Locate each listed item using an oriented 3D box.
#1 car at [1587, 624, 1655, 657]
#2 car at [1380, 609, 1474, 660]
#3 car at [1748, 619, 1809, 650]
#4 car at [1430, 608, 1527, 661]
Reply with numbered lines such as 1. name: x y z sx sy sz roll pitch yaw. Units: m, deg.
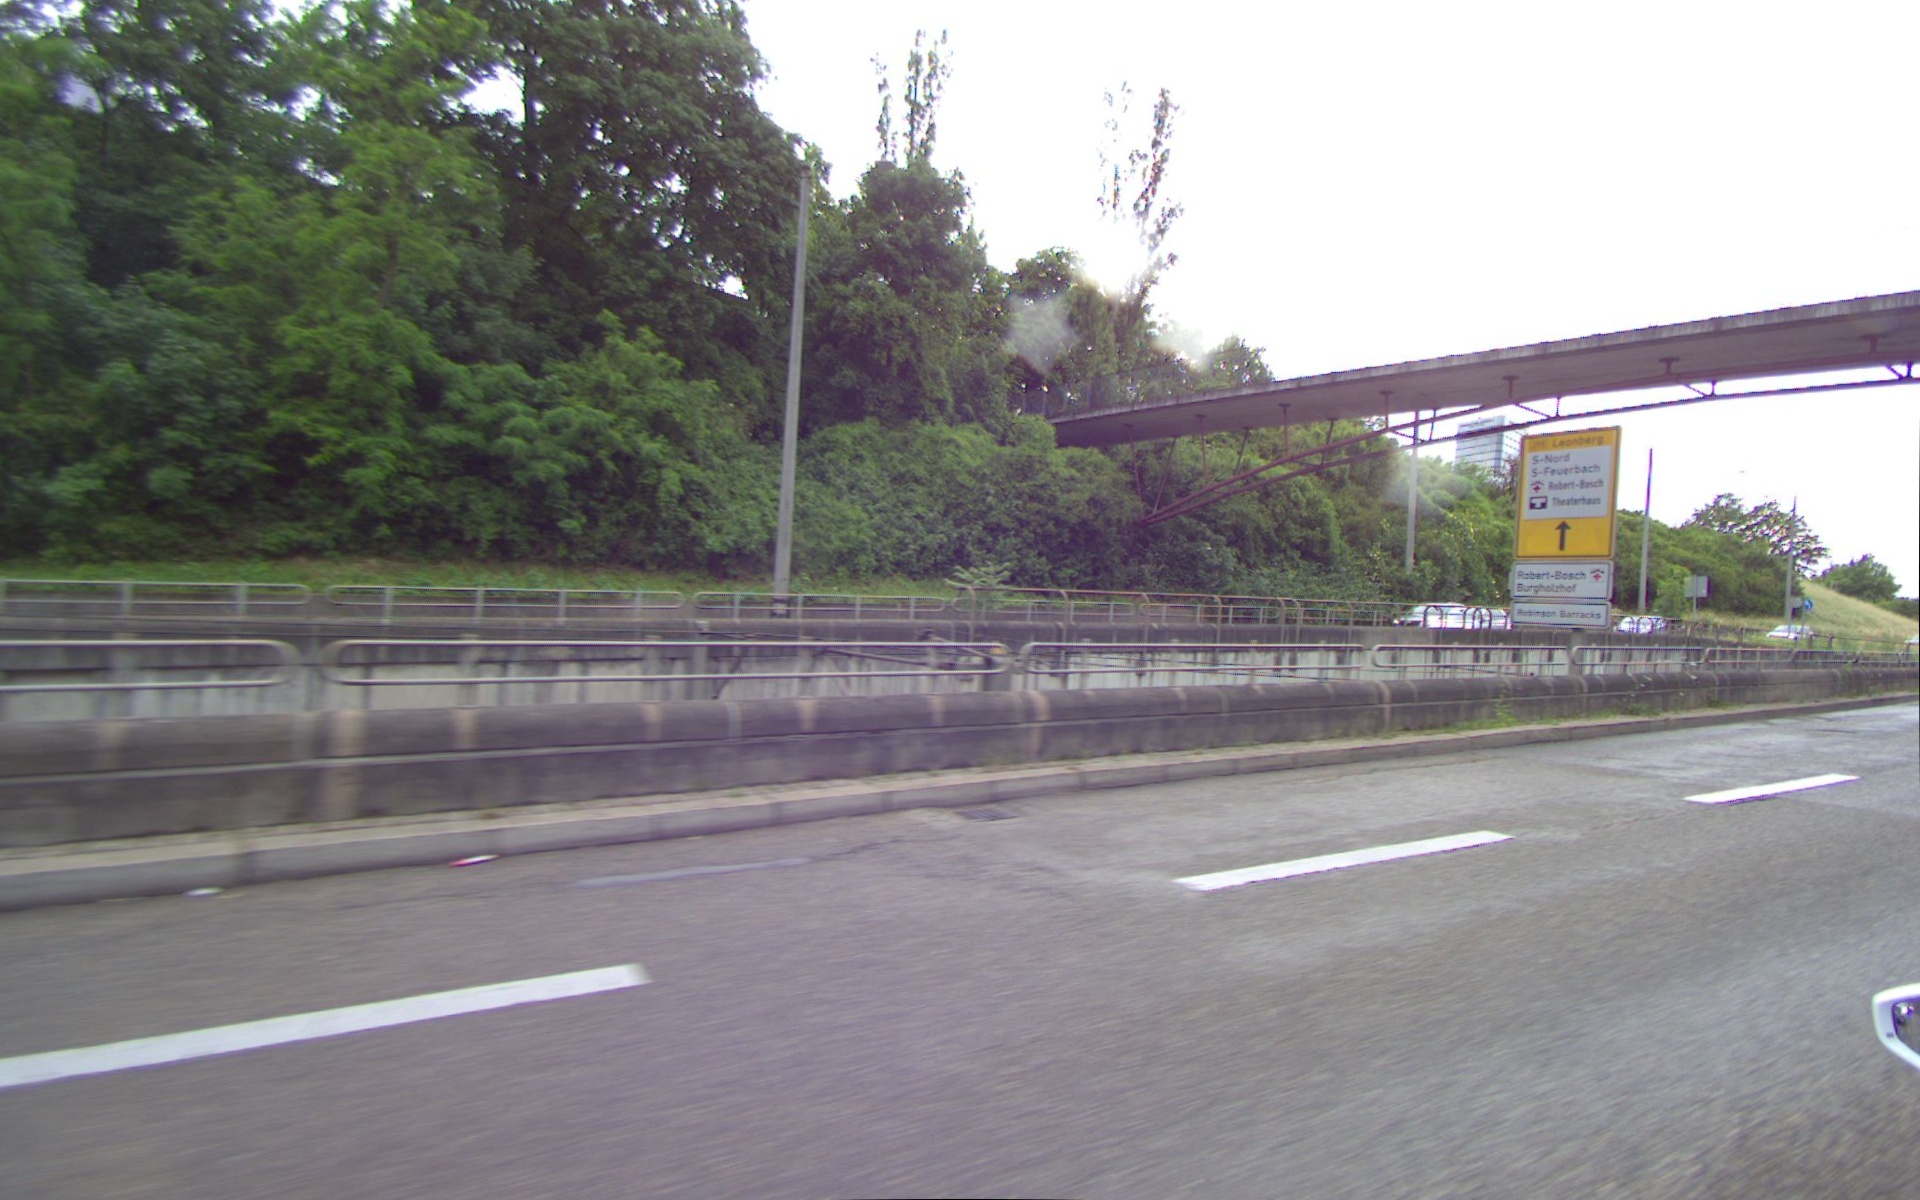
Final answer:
1. car: 37.431 2.303 56.816 4.667 1.744 1.977 3 -2 -40
2. car: 19.126 1.424 41.034 4.520 1.941 1.658 3 -1 -39
3. car: 56.921 2.401 69.827 4.582 1.859 1.981 3 0 -34
4. car: 18.985 1.245 36.714 3.965 1.854 1.658 2 -1 -38
